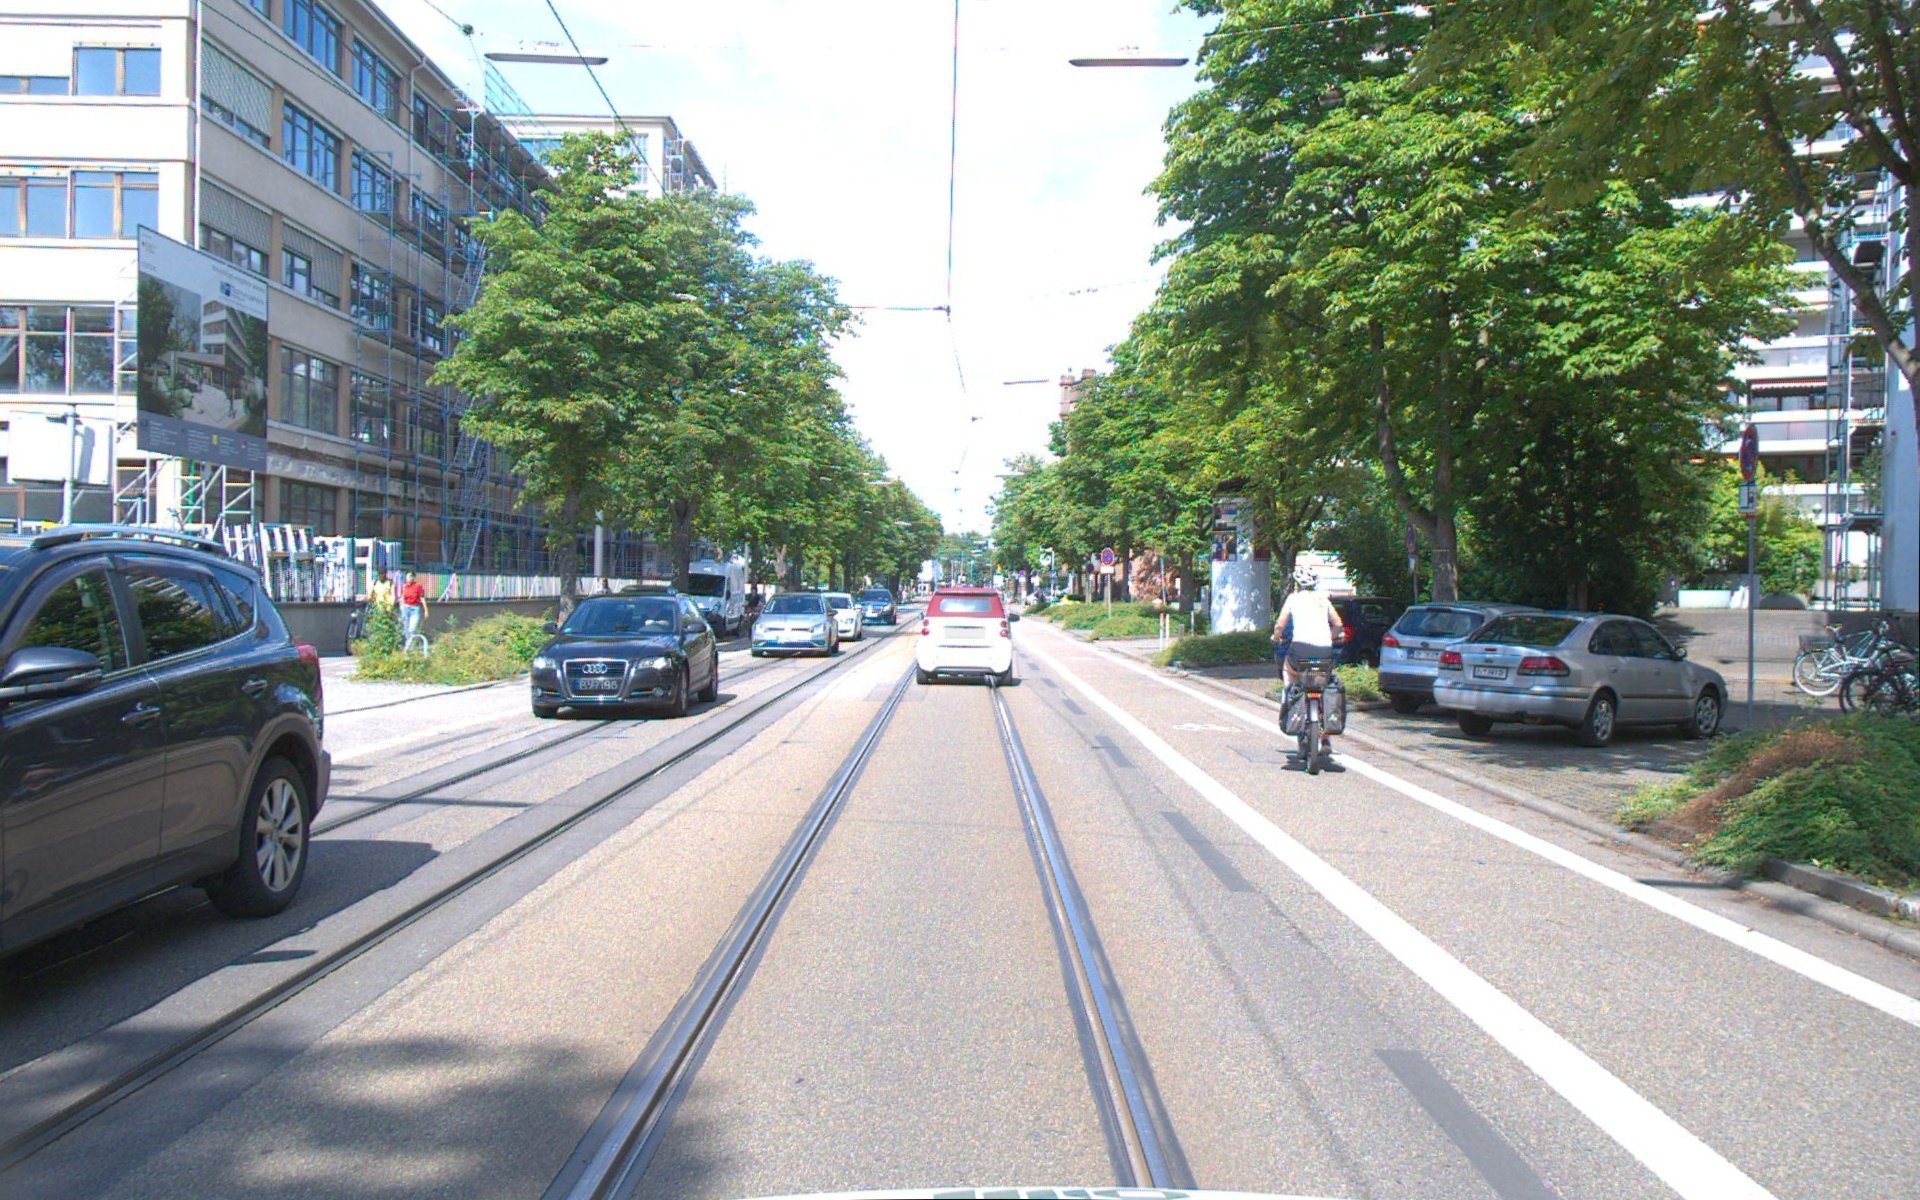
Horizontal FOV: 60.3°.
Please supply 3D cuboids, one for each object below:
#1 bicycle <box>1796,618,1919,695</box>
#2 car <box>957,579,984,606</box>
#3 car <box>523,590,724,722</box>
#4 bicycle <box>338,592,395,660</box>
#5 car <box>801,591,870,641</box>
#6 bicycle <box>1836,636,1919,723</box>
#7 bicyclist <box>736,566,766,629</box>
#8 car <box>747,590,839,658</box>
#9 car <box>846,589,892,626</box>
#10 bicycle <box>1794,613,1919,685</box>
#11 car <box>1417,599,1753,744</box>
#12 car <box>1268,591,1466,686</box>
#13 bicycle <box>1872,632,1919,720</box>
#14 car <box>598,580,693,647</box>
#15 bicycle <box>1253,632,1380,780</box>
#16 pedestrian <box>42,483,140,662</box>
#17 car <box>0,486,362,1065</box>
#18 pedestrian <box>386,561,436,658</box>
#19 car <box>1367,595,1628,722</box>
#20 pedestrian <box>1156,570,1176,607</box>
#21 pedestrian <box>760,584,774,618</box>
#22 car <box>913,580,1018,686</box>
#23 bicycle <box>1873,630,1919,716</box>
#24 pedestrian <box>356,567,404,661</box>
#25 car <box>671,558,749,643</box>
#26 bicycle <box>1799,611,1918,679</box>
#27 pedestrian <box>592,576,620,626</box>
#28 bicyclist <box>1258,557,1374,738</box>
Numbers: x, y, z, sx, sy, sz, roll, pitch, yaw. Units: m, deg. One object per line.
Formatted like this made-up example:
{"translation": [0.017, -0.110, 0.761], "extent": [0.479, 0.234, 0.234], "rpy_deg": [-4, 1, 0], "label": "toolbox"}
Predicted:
{"translation": [13.830, 0.852, 25.322], "extent": [1.793, 1.114, 0.450], "rpy_deg": [0, 3, 31], "label": "bicycle"}
{"translation": [0.659, -0.518, 106.766], "extent": [1.631, 1.653, 3.620], "rpy_deg": [2, 1, -1], "label": "car"}
{"translation": [-3.996, 0.619, 20.255], "extent": [1.688, 1.400, 3.999], "rpy_deg": [-2, 0, -1], "label": "car"}
{"translation": [-11.708, 0.492, 32.680], "extent": [0.437, 1.309, 1.739], "rpy_deg": [1, 0, 2], "label": "bicycle"}
{"translation": [-3.738, 0.470, 50.411], "extent": [1.651, 1.430, 4.227], "rpy_deg": [0, 0, 2], "label": "car"}
{"translation": [12.182, 1.012, 20.993], "extent": [1.861, 1.071, 0.450], "rpy_deg": [0, 0, 31], "label": "bicycle"}
{"translation": [-6.881, -0.066, 54.595], "extent": [0.859, 2.049, 0.833], "rpy_deg": [-1, -1, -1], "label": "bicyclist"}
{"translation": [-3.787, 0.524, 38.066], "extent": [1.737, 1.441, 3.851], "rpy_deg": [-1, 0, -1], "label": "car"}
{"translation": [-3.950, 0.322, 72.389], "extent": [1.764, 1.534, 4.535], "rpy_deg": [1, 0, -1], "label": "car"}
{"translation": [14.854, 0.803, 27.418], "extent": [1.793, 1.115, 0.450], "rpy_deg": [1, 1, 31], "label": "bicycle"}
{"translation": [7.252, 0.753, 19.019], "extent": [4.200, 1.445, 1.700], "rpy_deg": [1, 1, -39], "label": "car"}
{"translation": [7.148, 0.622, 28.844], "extent": [1.589, 1.512, 3.973], "rpy_deg": [0, 0, 44], "label": "car"}
{"translation": [12.757, 0.982, 21.201], "extent": [1.861, 1.115, 0.450], "rpy_deg": [0, 0, 31], "label": "bicycle"}
{"translation": [-8.532, 0.355, 45.179], "extent": [1.768, 1.691, 4.102], "rpy_deg": [2, 0, 0], "label": "car"}
{"translation": [3.185, 0.911, 14.965], "extent": [0.856, 1.145, 2.137], "rpy_deg": [2, 1, 6], "label": "bicycle"}
{"translation": [-8.364, -0.259, 15.916], "extent": [0.718, 1.665, 0.684], "rpy_deg": [2, 0, -34], "label": "pedestrian"}
{"translation": [-3.803, 0.514, 5.842], "extent": [1.788, 1.757, 4.391], "rpy_deg": [1, 1, 0], "label": "car"}
{"translation": [-10.848, 0.179, 32.706], "extent": [0.694, 1.863, 0.661], "rpy_deg": [4, 1, -6], "label": "pedestrian"}
{"translation": [7.239, 0.740, 22.131], "extent": [3.772, 1.500, 1.628], "rpy_deg": [1, 1, -42], "label": "car"}
{"translation": [11.610, -0.631, 93.240], "extent": [0.957, 2.049, 1.093], "rpy_deg": [2, 0, -1], "label": "pedestrian"}
{"translation": [-11.966, 0.060, 102.485], "extent": [0.788, 2.049, 0.484], "rpy_deg": [1, 0, -9], "label": "pedestrian"}
{"translation": [0.055, 0.500, 27.735], "extent": [1.631, 1.653, 3.620], "rpy_deg": [0, 1, -1], "label": "car"}
{"translation": [13.009, 0.961, 21.632], "extent": [1.861, 1.115, 0.450], "rpy_deg": [0, 0, 31], "label": "bicycle"}
{"translation": [-11.466, 0.278, 32.699], "extent": [0.693, 1.824, 0.661], "rpy_deg": [2, 0, -6], "label": "pedestrian"}
{"translation": [-8.379, 0.016, 55.852], "extent": [1.733, 2.685, 5.322], "rpy_deg": [2, 0, 0], "label": "car"}
{"translation": [15.443, 0.754, 28.453], "extent": [1.793, 1.115, 0.450], "rpy_deg": [0, 1, 31], "label": "bicycle"}
{"translation": [-11.872, 0.046, 55.546], "extent": [0.749, 1.648, 0.594], "rpy_deg": [2, 0, 0], "label": "pedestrian"}
{"translation": [3.223, 0.420, 15.079], "extent": [0.871, 1.555, 1.086], "rpy_deg": [2, 0, 6], "label": "bicyclist"}
